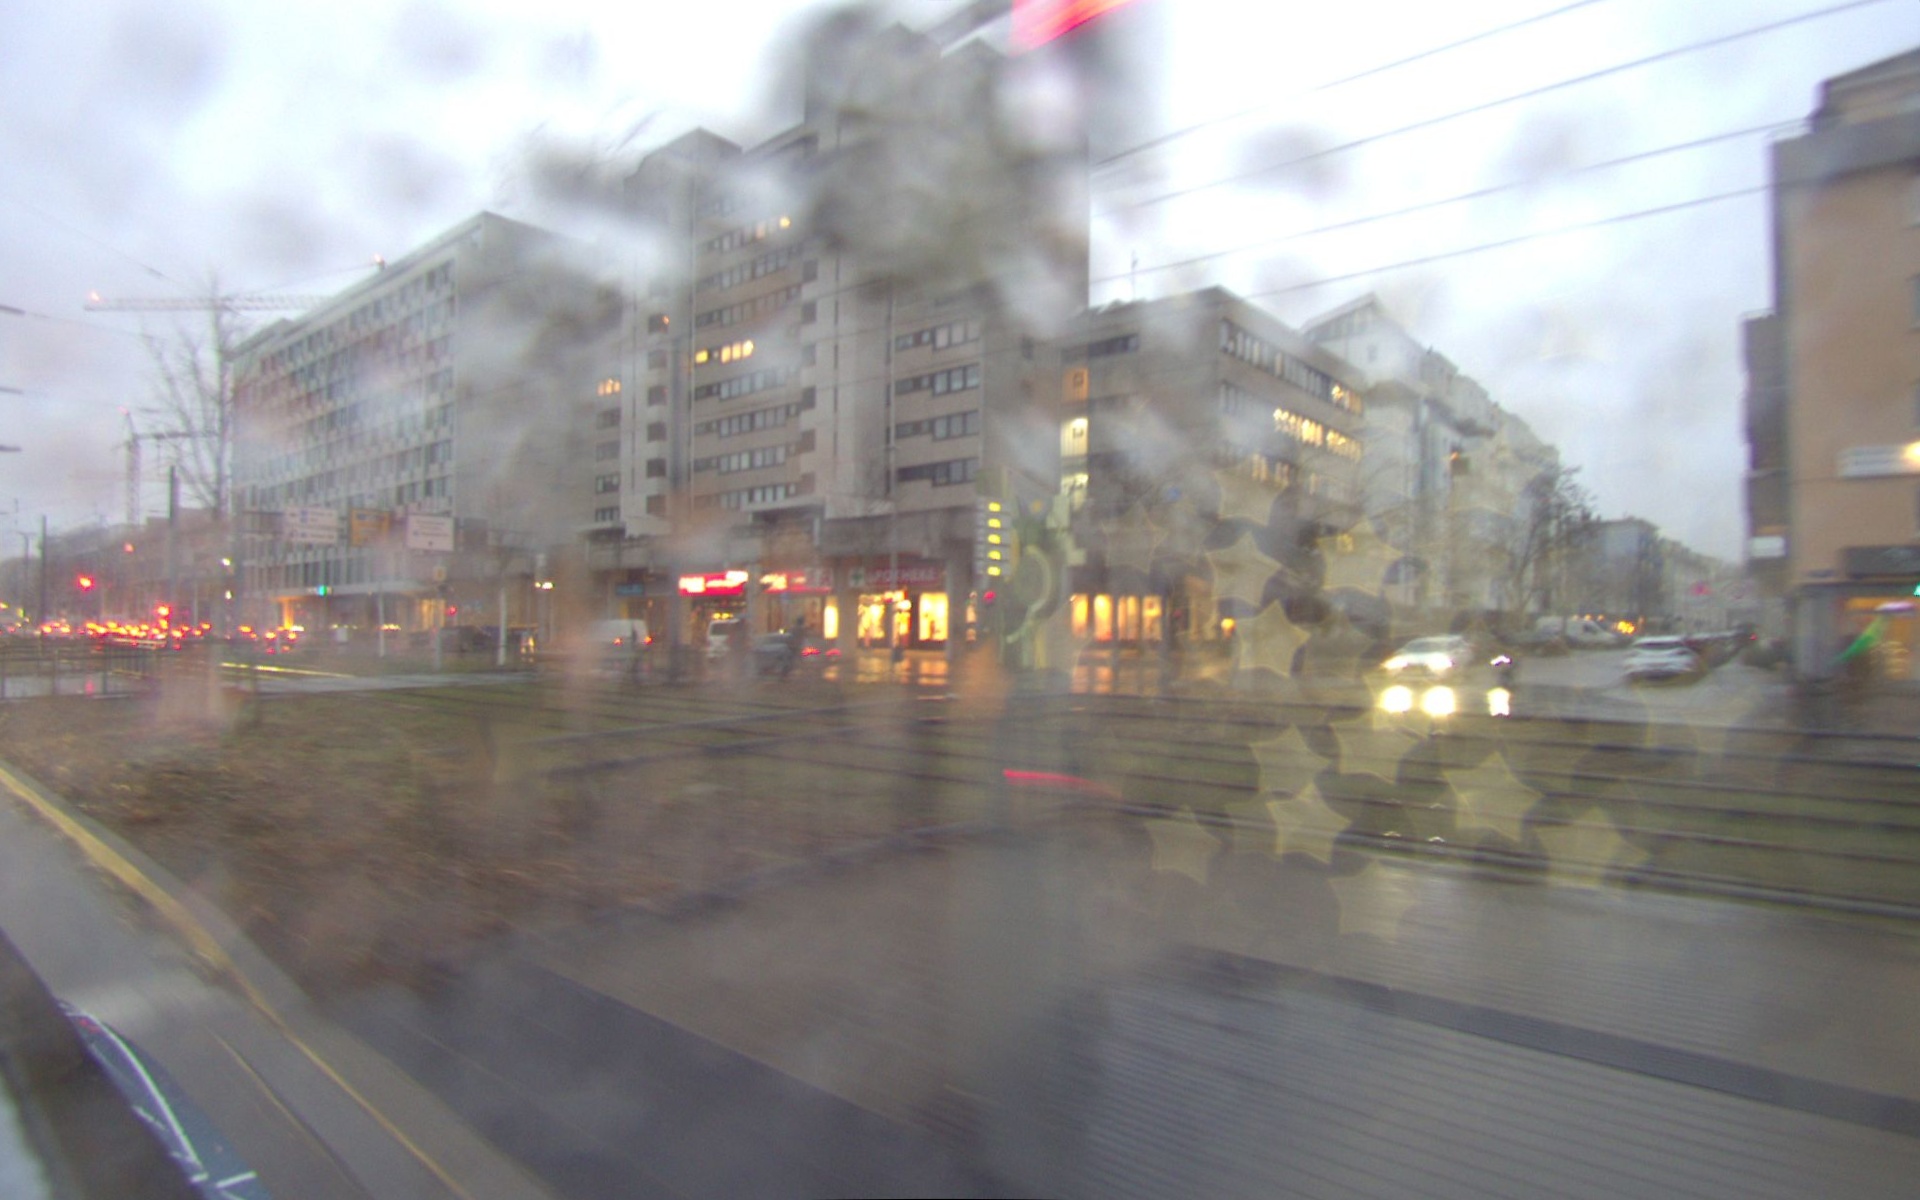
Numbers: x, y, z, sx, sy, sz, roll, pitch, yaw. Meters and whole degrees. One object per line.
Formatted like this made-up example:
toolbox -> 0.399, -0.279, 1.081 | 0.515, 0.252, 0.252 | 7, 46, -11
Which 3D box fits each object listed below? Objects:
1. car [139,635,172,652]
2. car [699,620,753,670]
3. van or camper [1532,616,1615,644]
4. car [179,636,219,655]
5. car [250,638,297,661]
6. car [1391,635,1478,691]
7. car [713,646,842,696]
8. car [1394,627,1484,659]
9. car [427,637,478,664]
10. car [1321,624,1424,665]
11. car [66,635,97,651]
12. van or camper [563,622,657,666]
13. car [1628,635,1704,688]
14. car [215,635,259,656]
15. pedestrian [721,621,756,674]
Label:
car -> -73.001, 3.935, 91.794 | 3.869, 1.460, 1.576 | -1, -1, 39
car -> -10.716, 2.031, 46.683 | 1.969, 2.029, 4.580 | -1, 0, -7
van or camper -> 50.915, 2.500, 84.012 | 5.630, 2.260, 1.973 | -1, -2, 41
car -> -62.184, 3.720, 82.700 | 3.869, 1.460, 1.732 | -1, -1, 39
car -> -47.976, 3.437, 70.708 | 3.763, 1.460, 1.656 | -1, -1, 39
car -> 15.430, 1.986, 32.790 | 1.683, 1.523, 3.948 | 0, 0, 39
car -> -6.582, 2.492, 36.252 | 4.697, 1.557, 1.975 | -1, -1, 38
car -> 22.895, 2.034, 48.419 | 3.573, 1.431, 1.816 | -1, -2, 37
car -> -32.732, 3.249, 65.346 | 1.656, 1.630, 3.781 | 0, -1, -4
car -> 16.875, 1.778, 41.468 | 3.635, 1.613, 1.601 | -1, -2, 38
car -> -84.060, 4.066, 96.780 | 3.869, 1.460, 1.576 | -1, -1, 39
van or camper -> -17.904, 2.197, 51.590 | 5.650, 2.113, 1.973 | -2, -2, 40
car -> 22.864, 1.945, 32.732 | 1.776, 1.564, 3.789 | -1, -2, 38
car -> -54.726, 3.417, 76.563 | 3.886, 1.523, 1.732 | -1, -1, 39
pedestrian -> -6.432, 1.362, 29.376 | 0.629, 1.501, 0.784 | -1, -2, 32
